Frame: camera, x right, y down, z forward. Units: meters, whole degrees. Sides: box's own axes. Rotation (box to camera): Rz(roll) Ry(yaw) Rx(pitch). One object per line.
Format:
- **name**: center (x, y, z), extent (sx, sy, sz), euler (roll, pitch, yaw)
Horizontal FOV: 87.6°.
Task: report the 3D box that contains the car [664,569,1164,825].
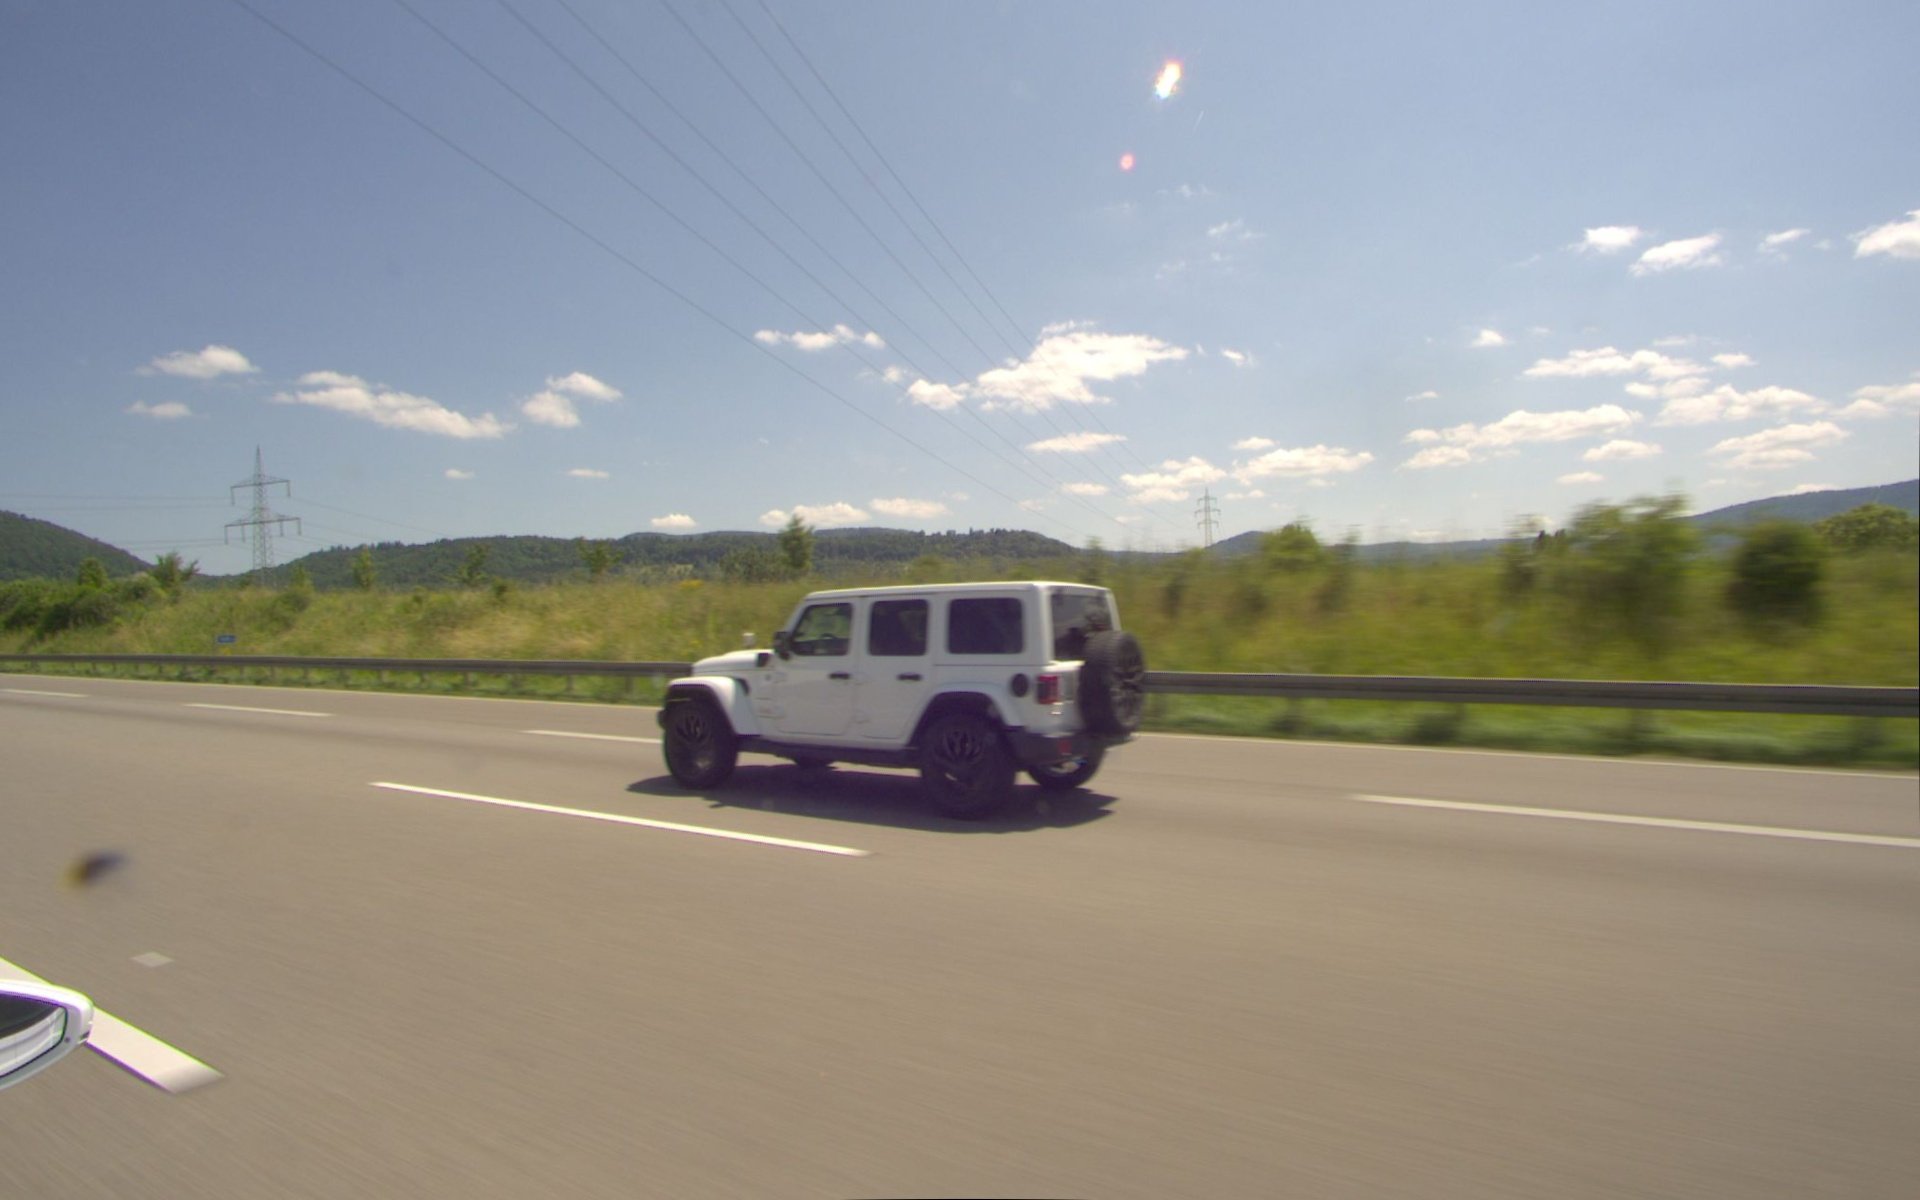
- **car**: center (-0.491, 0.757, 9.169), extent (4.190, 1.827, 2.031), euler (-1, -2, 33)
